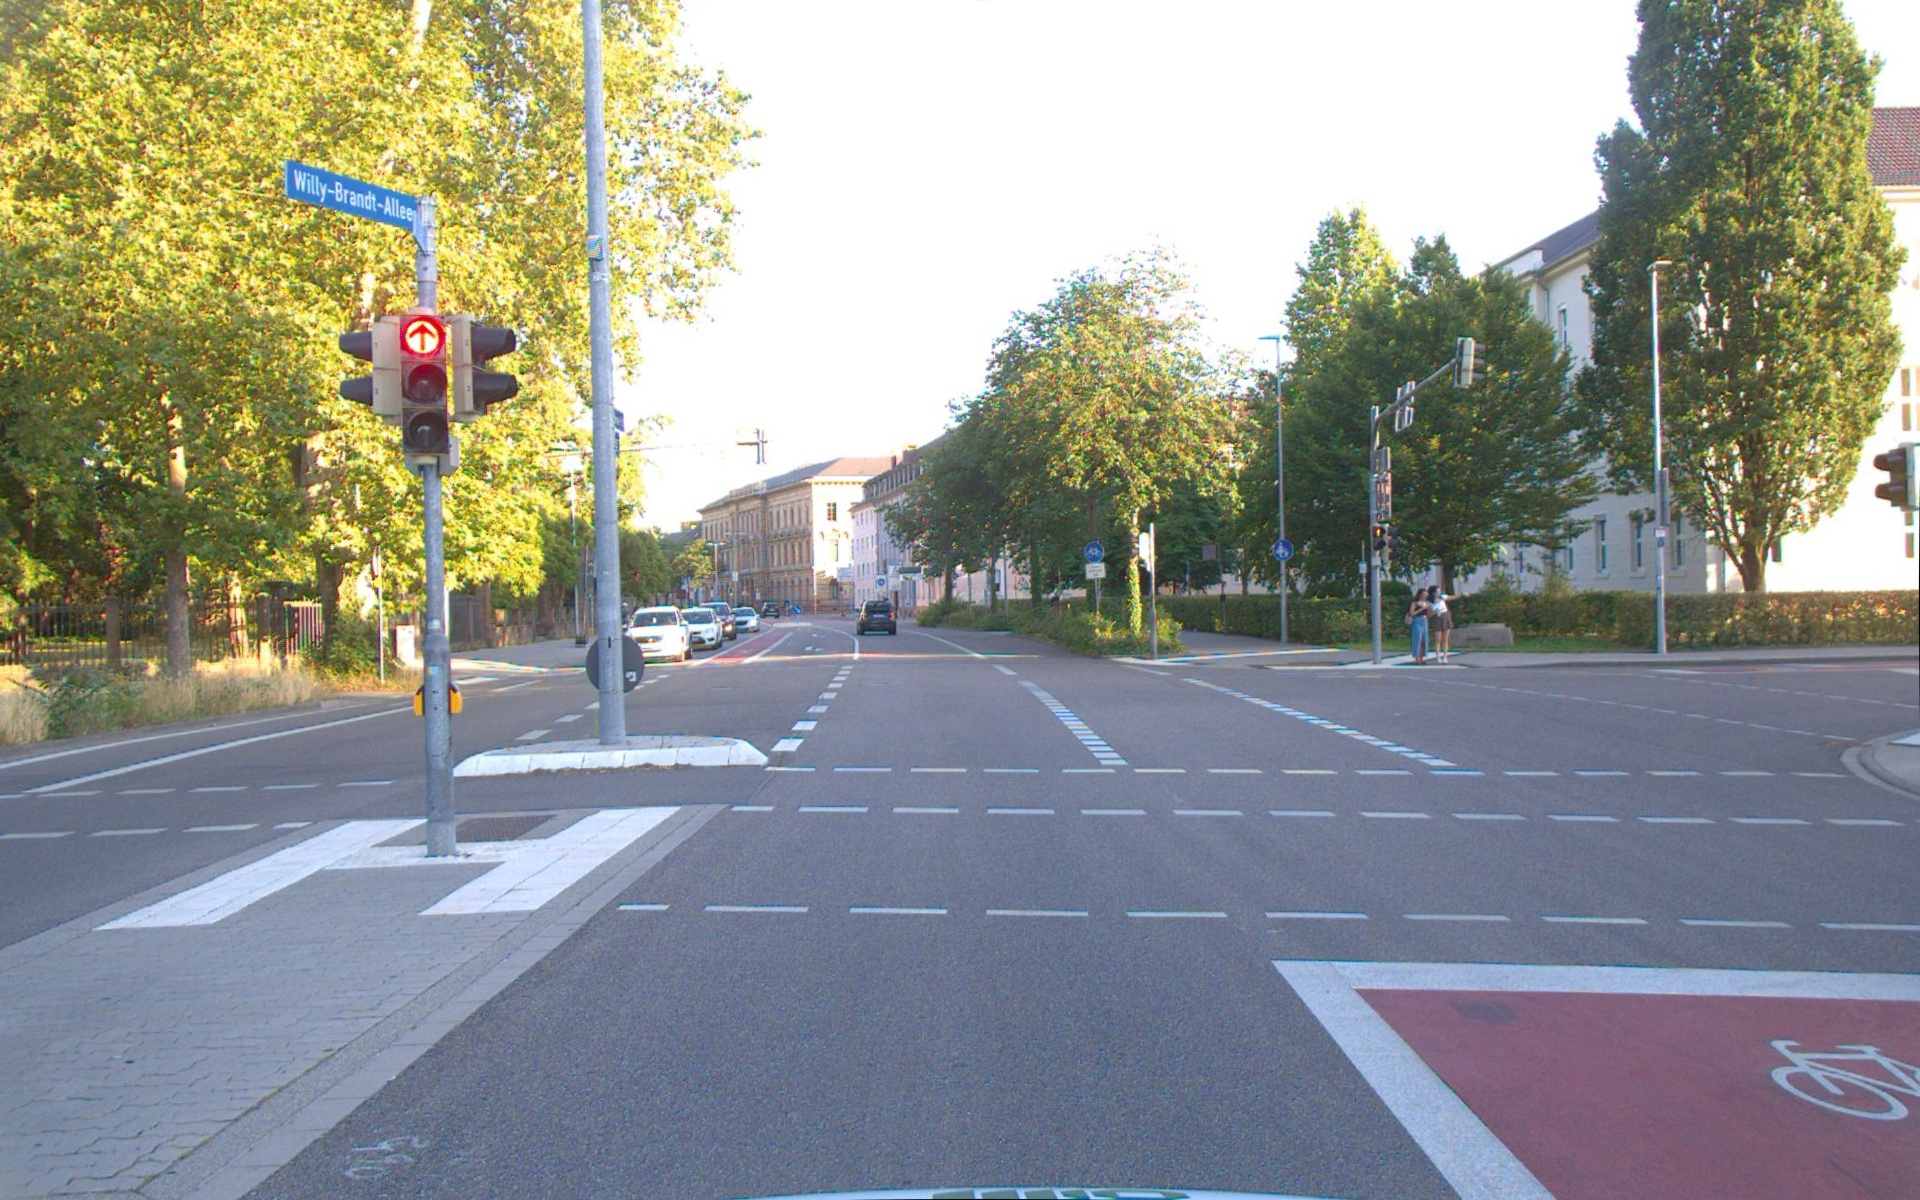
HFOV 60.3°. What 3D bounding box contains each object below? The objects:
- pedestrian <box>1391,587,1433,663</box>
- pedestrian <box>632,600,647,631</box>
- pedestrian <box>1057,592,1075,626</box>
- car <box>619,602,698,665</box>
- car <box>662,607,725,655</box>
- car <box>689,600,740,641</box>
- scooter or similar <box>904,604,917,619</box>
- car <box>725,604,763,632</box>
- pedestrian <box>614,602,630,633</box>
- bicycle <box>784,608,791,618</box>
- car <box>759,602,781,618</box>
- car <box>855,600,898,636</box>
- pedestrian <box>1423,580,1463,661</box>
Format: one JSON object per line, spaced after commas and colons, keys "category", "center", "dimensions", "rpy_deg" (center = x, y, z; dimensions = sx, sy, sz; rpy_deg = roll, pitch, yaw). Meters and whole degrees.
{"category": "pedestrian", "center": [10.111, 0.550, 37.000], "dimensions": [0.667, 1.650, 0.845], "rpy_deg": [-1, 0, -1]}
{"category": "pedestrian", "center": [-17.233, 0.810, 88.912], "dimensions": [0.667, 1.650, 0.688], "rpy_deg": [-1, 0, -1]}
{"category": "pedestrian", "center": [5.670, 0.479, 88.399], "dimensions": [0.756, 1.769, 0.805], "rpy_deg": [-1, 0, -10]}
{"category": "car", "center": [-9.157, 0.976, 50.515], "dimensions": [1.879, 1.725, 4.422], "rpy_deg": [-3, 0, -5]}
{"category": "car", "center": [-9.836, 1.110, 61.349], "dimensions": [1.879, 1.611, 4.669], "rpy_deg": [-3, 0, -5]}
{"category": "car", "center": [-10.951, 0.894, 74.080], "dimensions": [1.879, 1.653, 4.634], "rpy_deg": [-3, 0, -5]}
{"category": "scooter or similar", "center": [-4.377, 1.011, 145.265], "dimensions": [0.619, 1.360, 2.391], "rpy_deg": [-1, 0, -14]}
{"category": "car", "center": [-12.452, 1.020, 95.594], "dimensions": [1.879, 1.442, 4.765], "rpy_deg": [-3, 0, -5]}
{"category": "pedestrian", "center": [-18.192, 0.941, 89.058], "dimensions": [0.667, 1.650, 0.688], "rpy_deg": [-1, 0, -1]}
{"category": "bicycle", "center": [-18.591, 1.392, 178.251], "dimensions": [0.640, 1.033, 2.192], "rpy_deg": [1, 0, -10]}
{"category": "car", "center": [-19.608, 1.035, 170.681], "dimensions": [1.882, 1.442, 4.758], "rpy_deg": [-3, 0, -11]}
{"category": "car", "center": [-3.826, 0.797, 75.359], "dimensions": [1.831, 1.536, 3.997], "rpy_deg": [-1, 0, -4]}
{"category": "pedestrian", "center": [10.812, 0.446, 37.035], "dimensions": [0.667, 1.784, 0.688], "rpy_deg": [-1, 0, -1]}
